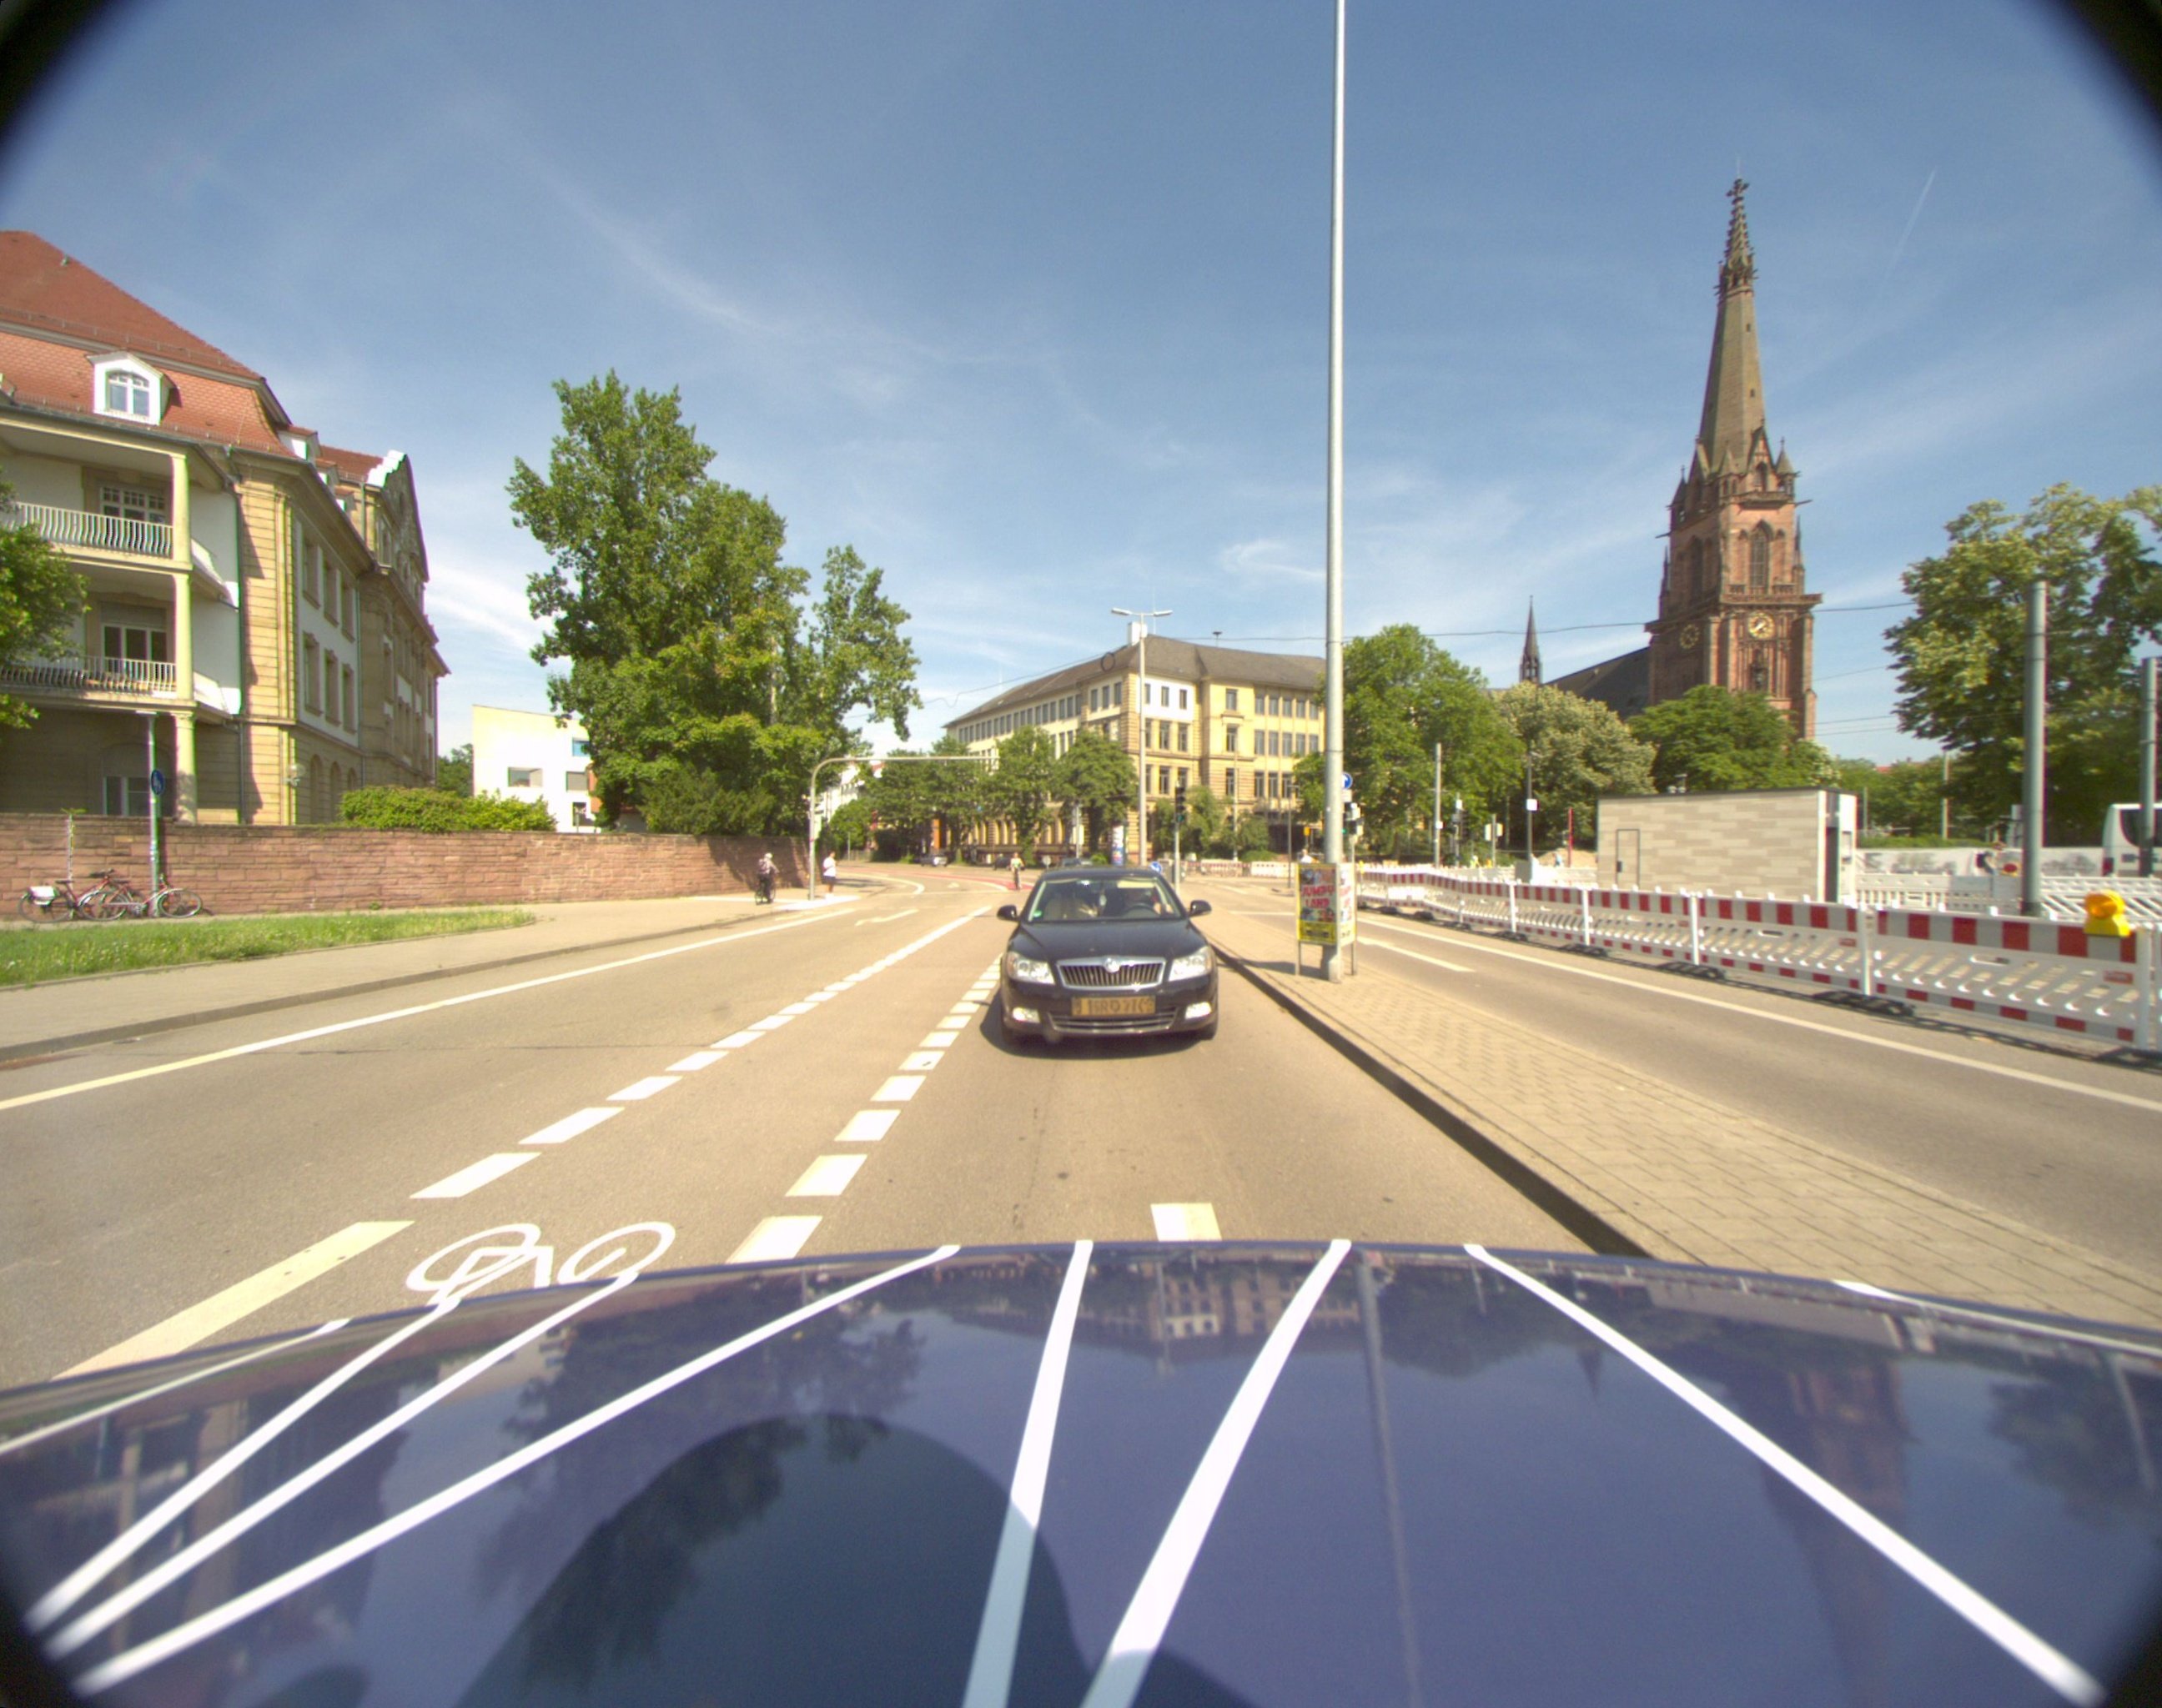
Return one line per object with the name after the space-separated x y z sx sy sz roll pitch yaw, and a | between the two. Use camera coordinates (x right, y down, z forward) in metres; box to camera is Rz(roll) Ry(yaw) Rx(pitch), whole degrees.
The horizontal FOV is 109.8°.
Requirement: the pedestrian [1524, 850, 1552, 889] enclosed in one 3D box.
19.567 0.653 32.520 0.663 1.606 0.792 -1 0 -23 | pedestrian

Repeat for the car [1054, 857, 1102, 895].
-0.190 0.872 31.615 1.802 1.368 4.275 -1 1 -3 | car

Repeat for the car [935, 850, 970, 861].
-16.561 0.176 97.939 4.008 1.455 1.994 0 1 -35 | car

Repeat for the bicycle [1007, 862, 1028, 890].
-2.940 0.979 34.884 0.686 1.215 2.184 0 1 -12 | bicycle

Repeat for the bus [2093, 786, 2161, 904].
35.770 -0.220 18.852 2.867 3.469 12.624 0 1 -34 | bus

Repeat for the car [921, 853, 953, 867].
-15.584 0.649 82.184 1.803 1.403 3.988 1 1 -37 | car

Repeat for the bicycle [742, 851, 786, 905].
-10.671 0.770 25.633 0.680 1.755 1.811 1 1 1 | bicycle

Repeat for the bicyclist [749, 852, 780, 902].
-10.675 0.750 25.649 0.680 1.646 0.919 1 1 1 | bicyclist

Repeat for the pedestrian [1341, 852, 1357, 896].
9.798 0.718 27.791 0.350 1.606 0.686 0 1 2 | pedestrian

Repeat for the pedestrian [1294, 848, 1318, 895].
8.822 0.683 29.766 0.839 1.802 0.650 0 0 22 | pedestrian

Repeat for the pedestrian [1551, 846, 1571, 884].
20.557 0.473 32.547 0.584 1.606 0.691 0 1 44 | pedestrian

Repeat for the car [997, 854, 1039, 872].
-5.671 0.792 67.787 1.675 1.442 3.806 1 1 -43 | car

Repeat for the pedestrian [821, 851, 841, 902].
-9.209 0.818 27.978 0.654 1.863 0.795 2 1 -18 | pedestrian

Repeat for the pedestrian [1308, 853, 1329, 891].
10.003 0.756 32.033 0.668 1.534 0.422 -3 1 -21 | pedestrian

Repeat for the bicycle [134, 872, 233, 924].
-20.571 0.980 17.444 0.348 1.116 1.438 1 1 35 | bicycle

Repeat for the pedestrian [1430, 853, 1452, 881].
21.135 0.763 44.602 0.939 1.646 0.845 0 1 9 | pedestrian

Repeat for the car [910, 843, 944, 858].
-20.609 -0.475 101.962 4.008 2.002 1.994 0 1 -35 | car

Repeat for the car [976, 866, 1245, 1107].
0.055 0.951 7.665 1.864 1.510 4.824 0 1 -4 | car

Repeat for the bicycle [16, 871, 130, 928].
-21.495 0.951 16.241 0.348 1.116 1.437 1 1 15 | bicycle

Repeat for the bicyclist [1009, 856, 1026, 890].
-2.912 0.861 34.845 0.588 1.539 0.930 -2 2 -13 | bicyclist
